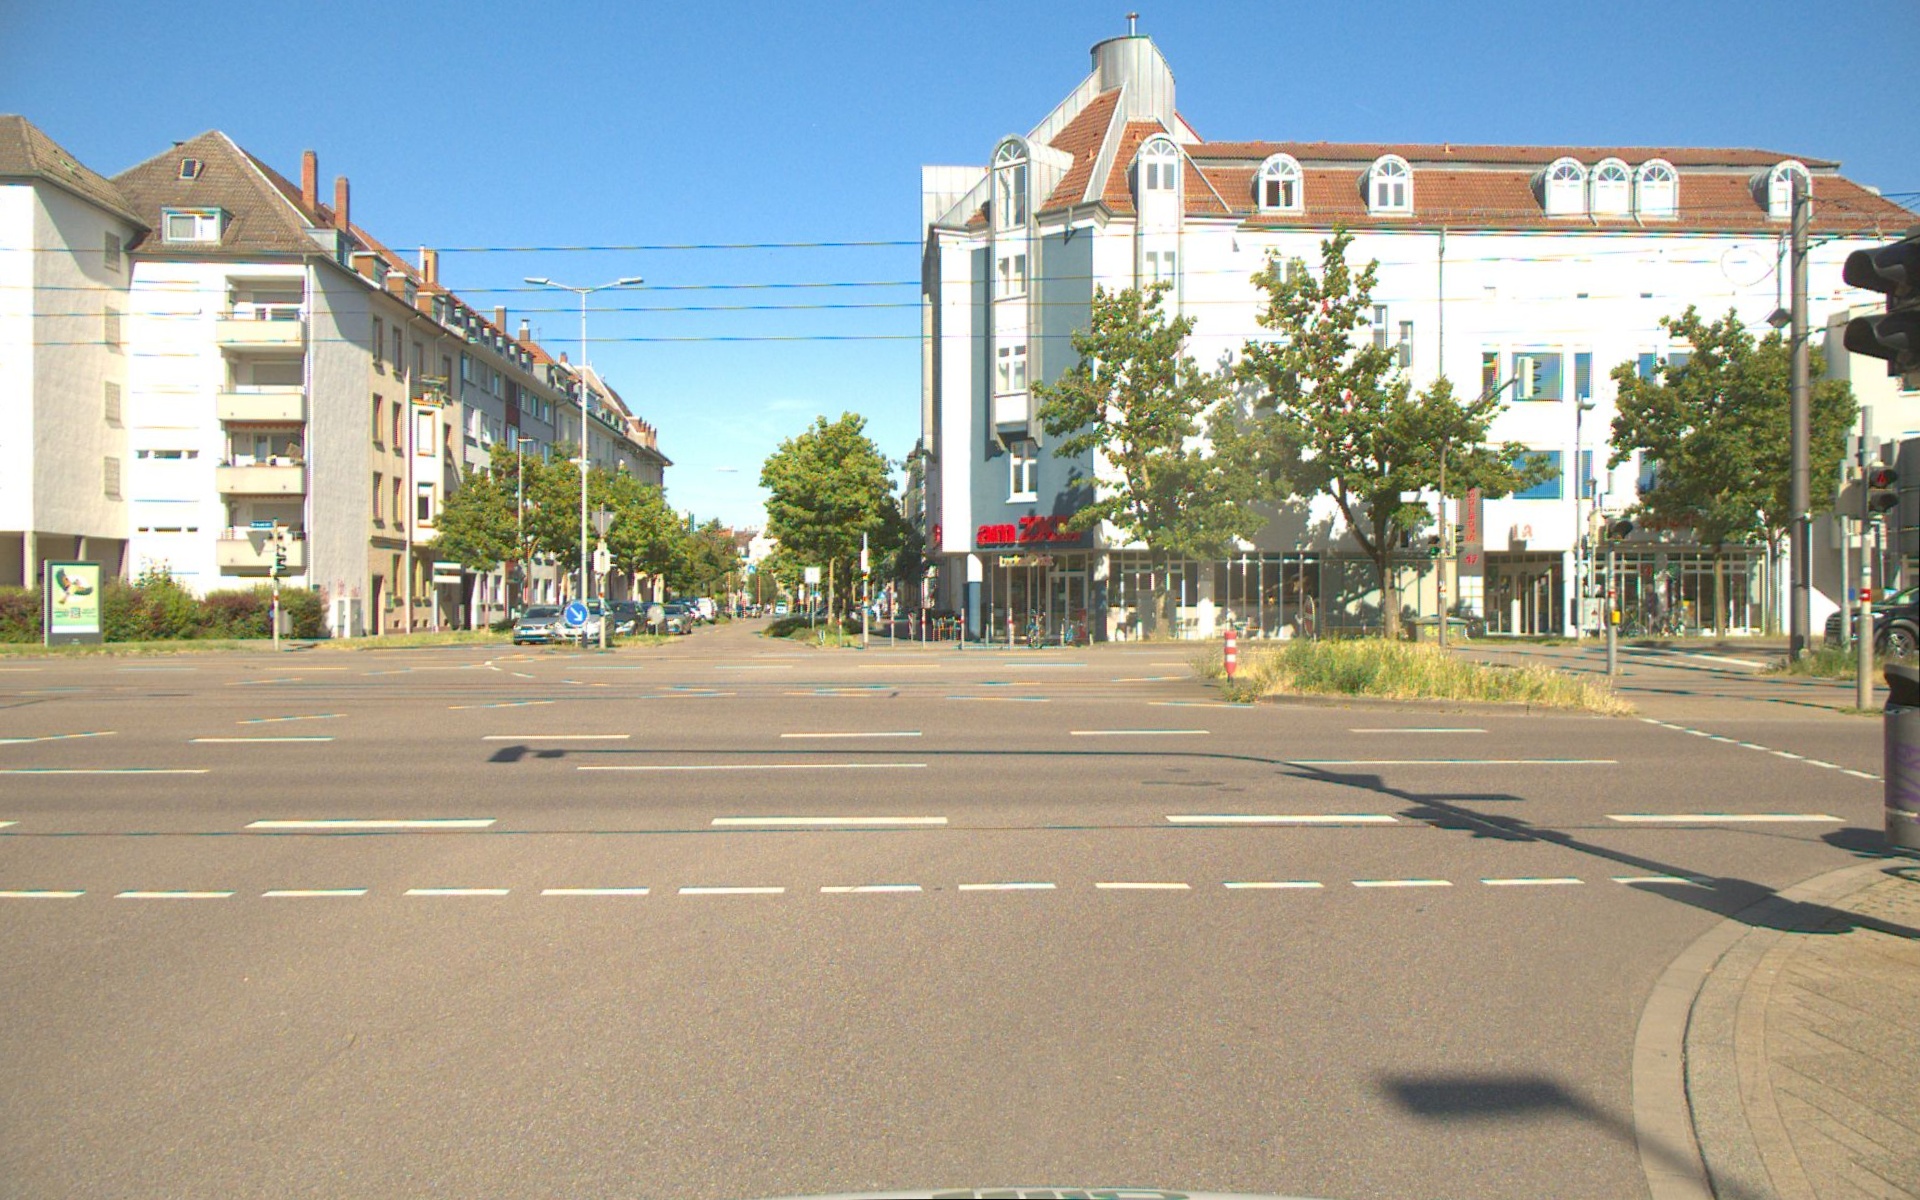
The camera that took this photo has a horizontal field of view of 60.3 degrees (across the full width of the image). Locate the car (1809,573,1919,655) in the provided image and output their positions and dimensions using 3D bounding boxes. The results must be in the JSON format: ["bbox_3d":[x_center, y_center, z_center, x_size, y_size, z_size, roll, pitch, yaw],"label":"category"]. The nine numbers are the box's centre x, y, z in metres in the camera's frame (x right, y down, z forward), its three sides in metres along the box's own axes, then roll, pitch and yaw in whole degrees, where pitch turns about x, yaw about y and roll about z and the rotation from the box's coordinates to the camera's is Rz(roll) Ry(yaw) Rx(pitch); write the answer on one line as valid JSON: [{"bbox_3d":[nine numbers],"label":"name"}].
[{"bbox_3d":[20.104,0.273,33.881,4.405,1.638,2.001,-1,0,6],"label":"car"}]

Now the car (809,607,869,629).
[{"bbox_3d":[-7.209,1.066,98.297,3.500,1.245,1.728,0,-1,-8],"label":"car"}]

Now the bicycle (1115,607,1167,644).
[{"bbox_3d":[5.249,0.744,47.904,1.479,1.045,0.473,-1,0,8],"label":"bicycle"}]

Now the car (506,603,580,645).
[{"bbox_3d":[-15.702,0.905,62.433,1.653,1.457,4.399,2,-1,0],"label":"car"}]

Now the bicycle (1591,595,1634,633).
[{"bbox_3d":[21.451,0.452,54.381,0.549,1.203,1.868,-1,0,-4],"label":"bicycle"}]

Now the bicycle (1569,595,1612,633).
[{"bbox_3d":[20.584,0.461,54.028,0.549,1.203,1.868,-1,0,-4],"label":"bicycle"}]

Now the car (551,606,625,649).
[{"bbox_3d":[-13.332,0.973,59.478,1.653,1.457,4.399,2,-1,0],"label":"car"}]

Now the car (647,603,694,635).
[{"bbox_3d":[-14.119,0.916,80.847,1.654,1.457,4.397,2,-1,-2],"label":"car"}]

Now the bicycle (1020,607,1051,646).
[{"bbox_3d":[2.074,0.710,45.486,0.463,1.045,1.511,-1,0,-13],"label":"bicycle"}]

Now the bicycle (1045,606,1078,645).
[{"bbox_3d":[2.808,0.704,46.043,0.463,1.045,1.510,-1,0,-14],"label":"bicycle"}]

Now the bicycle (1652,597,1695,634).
[{"bbox_3d":[23.305,0.504,54.056,0.549,1.203,1.869,-1,0,-1],"label":"bicycle"}]

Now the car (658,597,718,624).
[{"bbox_3d":[-21.136,0.800,128.530,4.417,2.049,1.997,0,-1,-6],"label":"car"}]

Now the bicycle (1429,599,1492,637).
[{"bbox_3d":[15.920,0.568,52.622,1.828,1.203,0.561,-1,0,-7],"label":"bicycle"}]

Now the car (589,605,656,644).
[{"bbox_3d":[-13.410,0.977,65.962,1.653,1.457,4.400,2,-1,1],"label":"car"}]

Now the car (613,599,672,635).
[{"bbox_3d":[-13.773,0.720,71.961,1.653,1.457,4.399,2,-1,0],"label":"car"}]

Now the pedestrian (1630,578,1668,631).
[{"bbox_3d":[23.121,0.158,55.493,0.970,1.753,0.653,-1,0,-4],"label":"pedestrian"}]
